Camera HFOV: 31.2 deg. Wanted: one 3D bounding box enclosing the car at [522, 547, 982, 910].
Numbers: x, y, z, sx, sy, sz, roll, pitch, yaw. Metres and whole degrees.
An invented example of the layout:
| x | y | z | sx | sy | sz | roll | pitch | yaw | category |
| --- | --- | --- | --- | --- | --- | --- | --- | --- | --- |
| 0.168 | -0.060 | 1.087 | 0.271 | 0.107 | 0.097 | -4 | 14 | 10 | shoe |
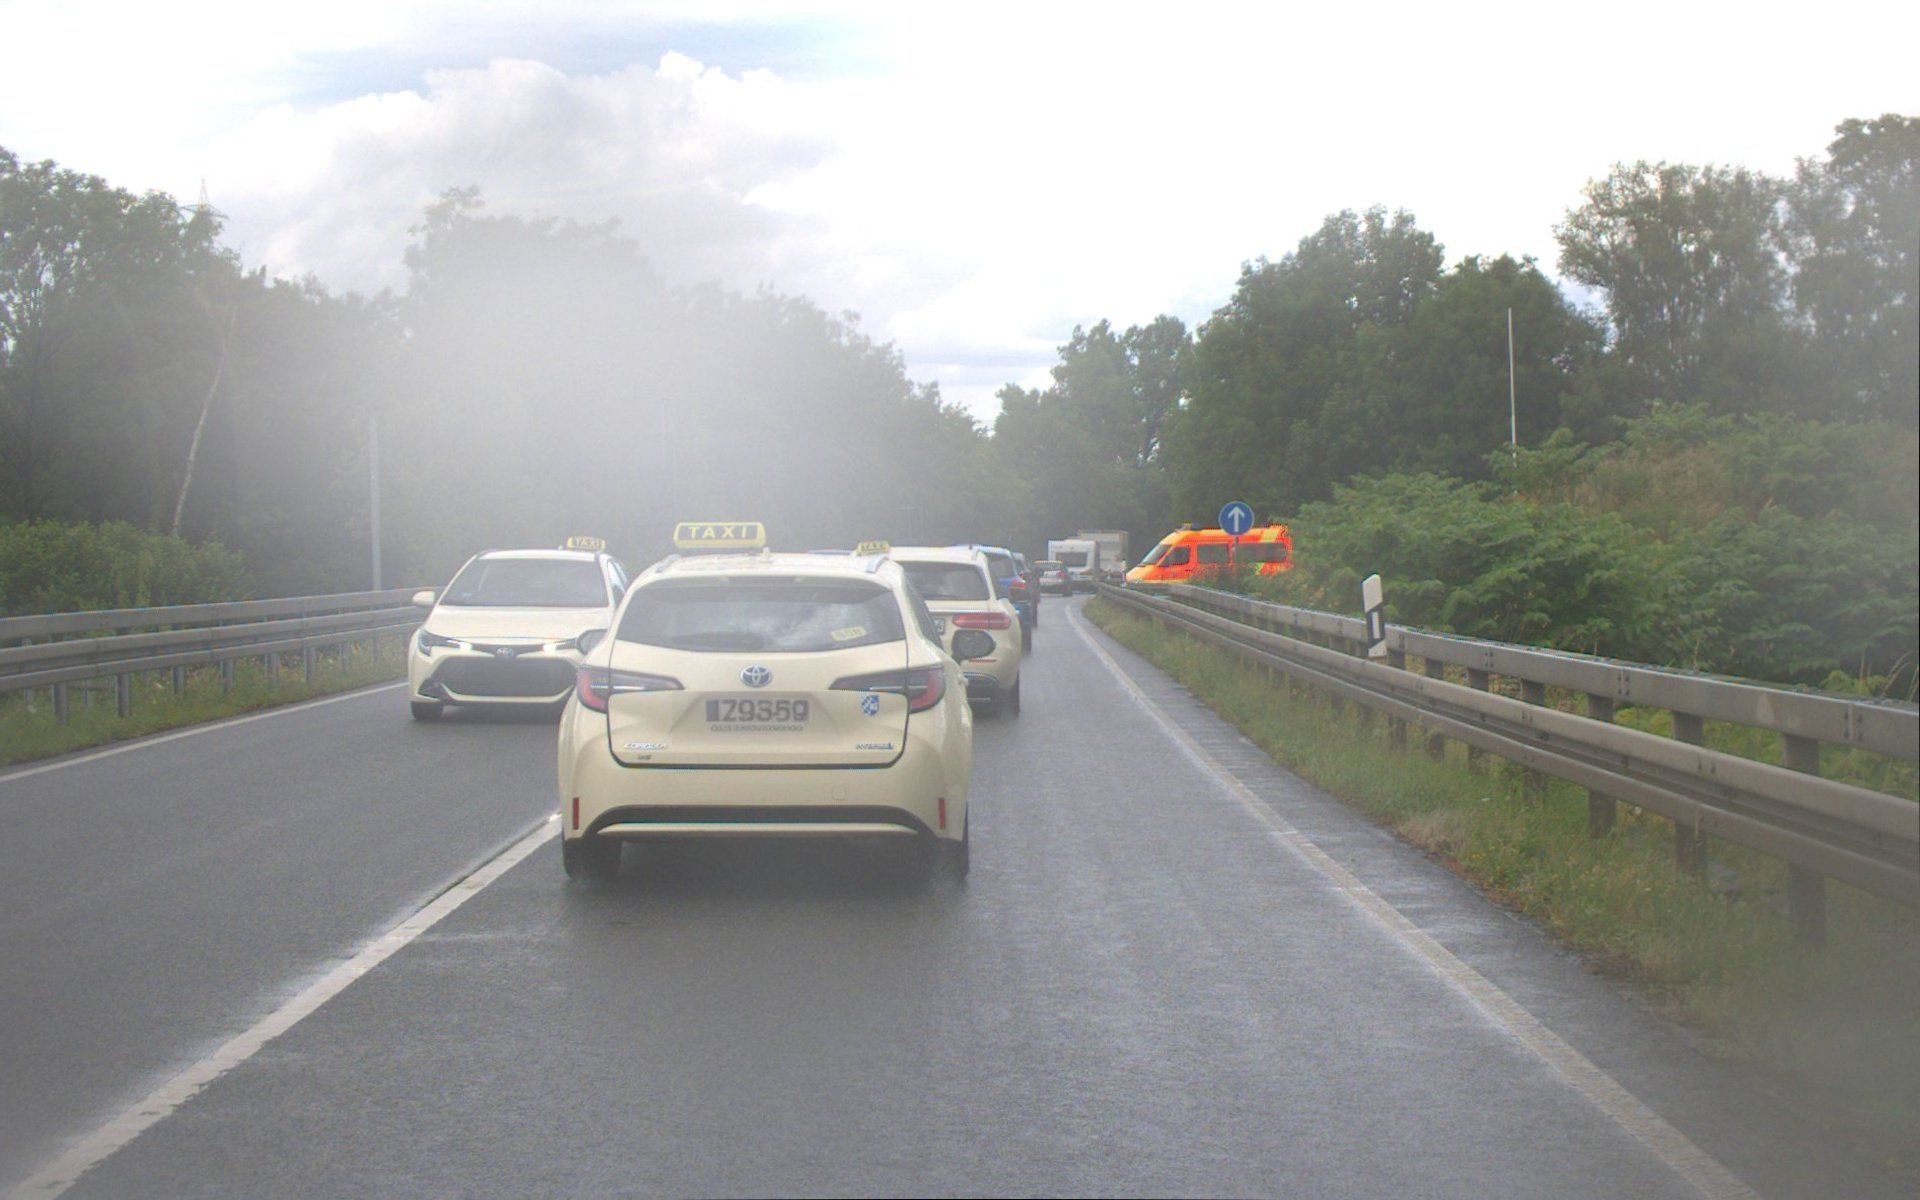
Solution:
| x | y | z | sx | sy | sz | roll | pitch | yaw | category |
| --- | --- | --- | --- | --- | --- | --- | --- | --- | --- |
| -0.852 | 0.489 | 16.015 | 1.854 | 1.389 | 4.171 | 1 | 2 | 0 | car |

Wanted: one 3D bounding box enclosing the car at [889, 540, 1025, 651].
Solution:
| x | y | z | sx | sy | sz | roll | pitch | yaw | category |
| --- | --- | --- | --- | --- | --- | --- | --- | --- | --- |
| -0.046 | -0.095 | 49.180 | 1.854 | 1.438 | 4.171 | 1 | 2 | 0 | car |

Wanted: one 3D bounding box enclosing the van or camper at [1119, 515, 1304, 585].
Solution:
| x | y | z | sx | sy | sz | roll | pitch | yaw | category |
| --- | --- | --- | --- | --- | --- | --- | --- | --- | --- |
| 8.217 | -1.651 | 112.560 | 5.676 | 2.234 | 2.021 | 0 | 1 | -14 | van or camper |

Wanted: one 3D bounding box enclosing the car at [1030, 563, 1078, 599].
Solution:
| x | y | z | sx | sy | sz | roll | pitch | yaw | category |
| --- | --- | --- | --- | --- | --- | --- | --- | --- | --- |
| 3.943 | -0.808 | 144.304 | 1.854 | 1.438 | 4.170 | 1 | 1 | 4 | car |

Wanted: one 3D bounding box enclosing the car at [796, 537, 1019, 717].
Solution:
| x | y | z | sx | sy | sz | roll | pitch | yaw | category |
| --- | --- | --- | --- | --- | --- | --- | --- | --- | --- |
| -0.449 | 0.188 | 30.923 | 1.854 | 1.438 | 4.171 | 1 | 2 | 0 | car |

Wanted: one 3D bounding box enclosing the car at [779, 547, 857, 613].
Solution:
| x | y | z | sx | sy | sz | roll | pitch | yaw | category |
| --- | --- | --- | --- | --- | --- | --- | --- | --- | --- |
| -3.509 | -0.509 | 85.483 | 1.779 | 1.556 | 4.302 | 1 | 1 | 0 | car |

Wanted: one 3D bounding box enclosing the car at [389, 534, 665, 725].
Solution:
| x | y | z | sx | sy | sz | roll | pitch | yaw | category |
| --- | --- | --- | --- | --- | --- | --- | --- | --- | --- |
| -3.681 | 0.192 | 29.973 | 1.810 | 1.504 | 4.611 | 1 | 1 | 0 | car |

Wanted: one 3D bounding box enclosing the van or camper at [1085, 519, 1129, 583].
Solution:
| x | y | z | sx | sy | sz | roll | pitch | yaw | category |
| --- | --- | --- | --- | --- | --- | --- | --- | --- | --- |
| 8.391 | -2.826 | 196.914 | 2.333 | 3.550 | 6.306 | 1 | 1 | 1 | van or camper |

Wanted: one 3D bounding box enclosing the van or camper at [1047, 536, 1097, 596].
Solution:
| x | y | z | sx | sy | sz | roll | pitch | yaw | category |
| --- | --- | --- | --- | --- | --- | --- | --- | --- | --- |
| 5.418 | -1.690 | 167.516 | 2.333 | 2.854 | 6.306 | 1 | 1 | 1 | van or camper |
